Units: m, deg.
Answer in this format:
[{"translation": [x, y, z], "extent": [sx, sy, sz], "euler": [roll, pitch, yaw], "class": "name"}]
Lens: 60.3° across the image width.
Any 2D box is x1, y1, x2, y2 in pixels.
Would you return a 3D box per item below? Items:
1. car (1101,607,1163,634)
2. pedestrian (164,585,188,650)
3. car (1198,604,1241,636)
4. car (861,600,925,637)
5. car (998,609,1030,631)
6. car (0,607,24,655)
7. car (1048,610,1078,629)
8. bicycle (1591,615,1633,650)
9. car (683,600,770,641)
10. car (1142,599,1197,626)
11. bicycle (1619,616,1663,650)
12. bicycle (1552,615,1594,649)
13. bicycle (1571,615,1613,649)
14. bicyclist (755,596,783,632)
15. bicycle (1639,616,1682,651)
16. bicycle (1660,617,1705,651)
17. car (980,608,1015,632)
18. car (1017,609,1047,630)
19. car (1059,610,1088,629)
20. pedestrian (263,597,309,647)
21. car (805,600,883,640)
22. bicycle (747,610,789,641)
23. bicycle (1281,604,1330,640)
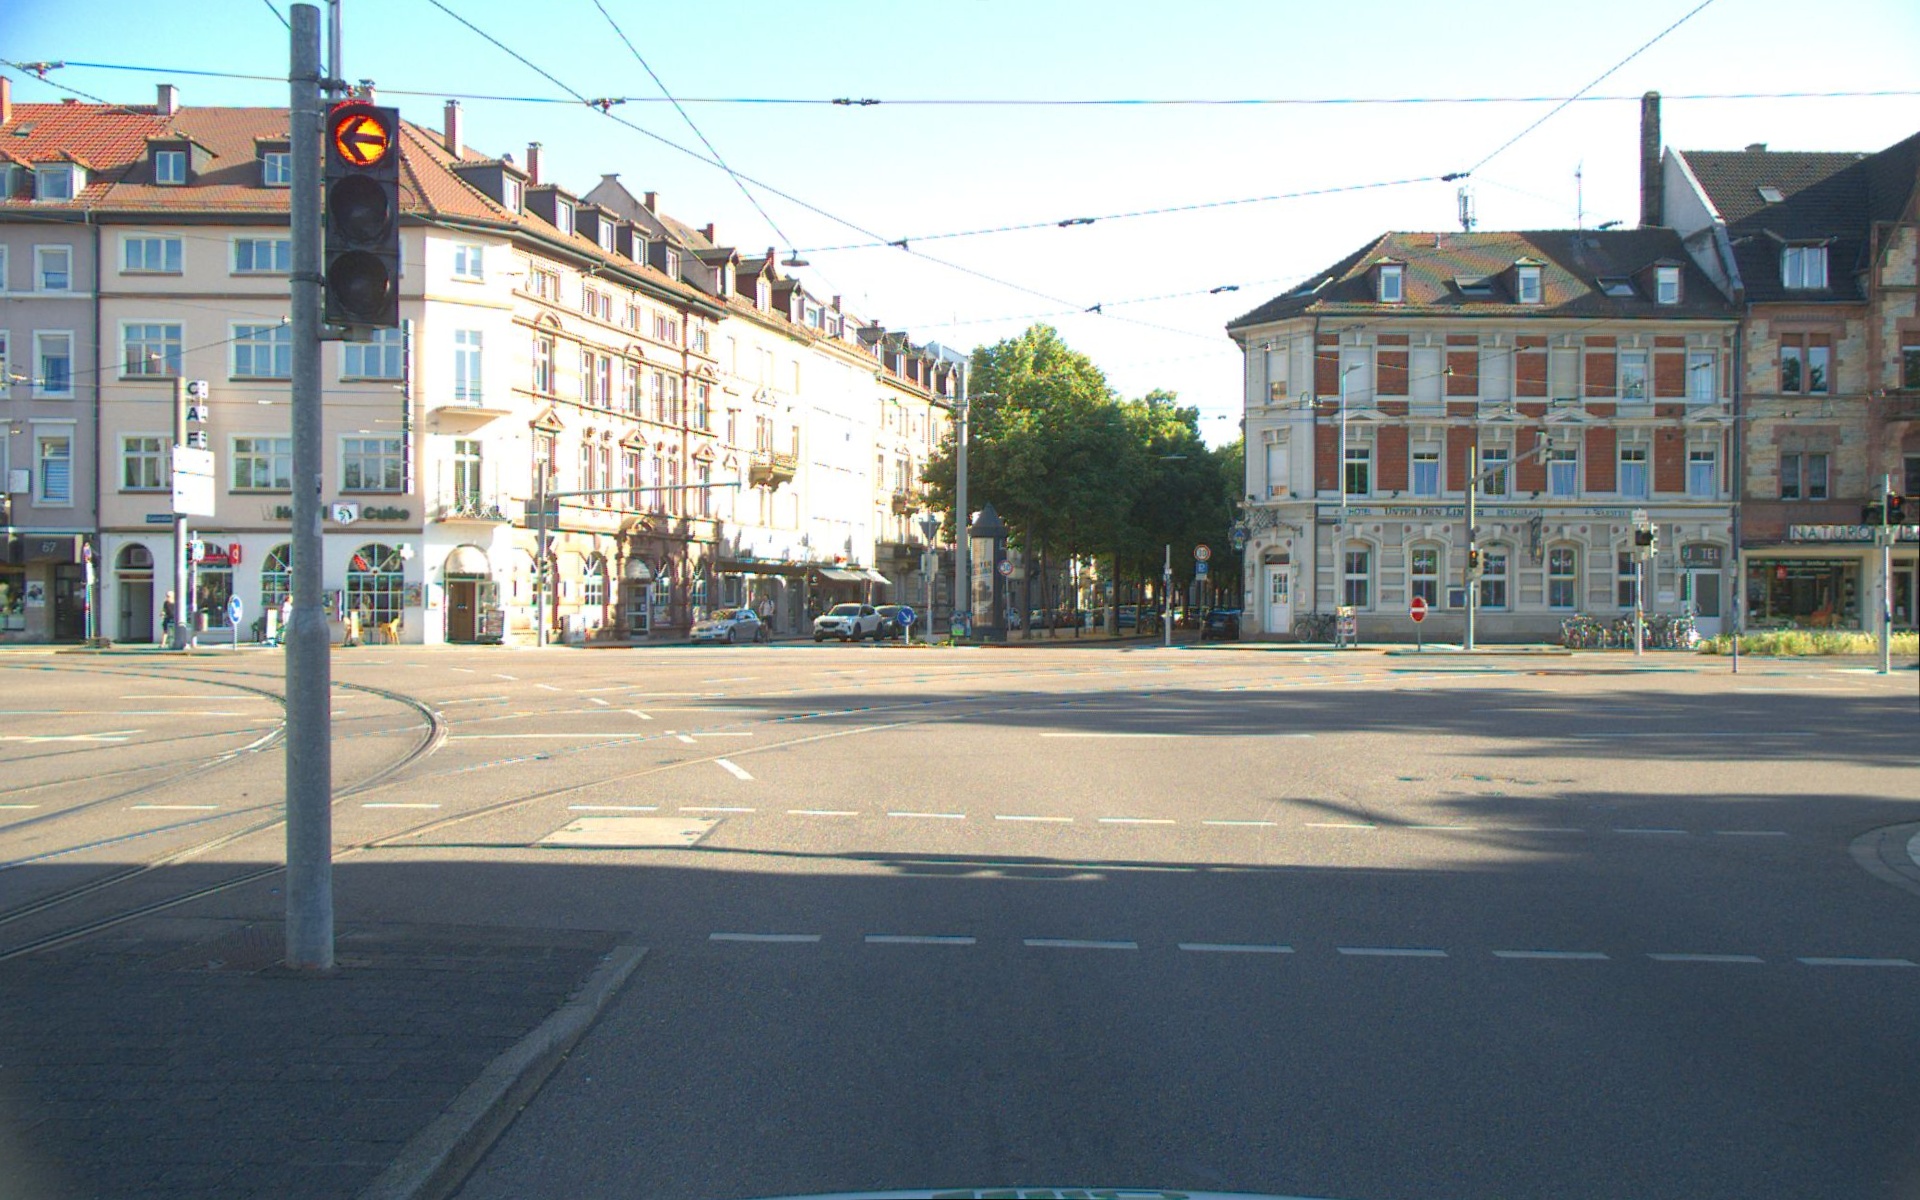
[{"translation": [12.004, 1.404, 115.383], "extent": [4.023, 1.675, 1.748], "euler": [3, 0, 15], "class": "car"}, {"translation": [-24.666, 0.540, 52.033], "extent": [0.498, 2.049, 0.505], "euler": [0, 0, 2], "class": "pedestrian"}, {"translation": [12.974, 1.002, 82.465], "extent": [1.616, 1.551, 3.755], "euler": [0, -1, 17], "class": "car"}, {"translation": [-2.959, 0.798, 73.471], "extent": [1.951, 1.540, 4.004], "euler": [0, 0, 11], "class": "car"}, {"translation": [3.803, 1.360, 115.839], "extent": [1.704, 1.422, 4.127], "euler": [3, 0, 9], "class": "car"}, {"translation": [-32.062, 1.001, 52.153], "extent": [3.910, 1.489, 1.998], "euler": [-1, 1, -6], "class": "car"}, {"translation": [8.243, 1.541, 131.706], "extent": [1.704, 1.422, 4.127], "euler": [3, 0, 13], "class": "car"}, {"translation": [21.118, 1.044, 53.593], "extent": [0.593, 1.069, 1.641], "euler": [0, 0, -6], "class": "bicycle"}, {"translation": [-9.450, 0.813, 67.219], "extent": [2.052, 1.572, 4.367], "euler": [0, 0, 13], "class": "car"}, {"translation": [16.956, 1.016, 133.664], "extent": [4.026, 1.952, 1.746], "euler": [3, 0, 21], "class": "car"}, {"translation": [21.944, 1.057, 53.325], "extent": [0.593, 1.069, 1.641], "euler": [0, 0, -6], "class": "bicycle"}, {"translation": [19.826, 1.022, 53.511], "extent": [0.593, 1.069, 1.641], "euler": [0, 0, -6], "class": "bicycle"}, {"translation": [20.466, 1.033, 53.567], "extent": [0.593, 1.069, 1.641], "euler": [0, 0, -6], "class": "bicycle"}, {"translation": [-7.559, 0.544, 65.463], "extent": [0.776, 1.399, 1.109], "euler": [0, 0, 14], "class": "bicyclist"}, {"translation": [22.604, 1.069, 53.401], "extent": [0.593, 1.069, 1.641], "euler": [0, 0, -6], "class": "bicycle"}, {"translation": [23.330, 1.081, 53.422], "extent": [0.593, 1.069, 1.641], "euler": [0, 0, -6], "class": "bicycle"}, {"translation": [2.525, 1.313, 110.015], "extent": [1.704, 1.422, 4.127], "euler": [3, 0, 9], "class": "car"}, {"translation": [5.333, 1.416, 122.839], "extent": [1.704, 1.422, 4.127], "euler": [3, 0, 9], "class": "car"}, {"translation": [9.420, 1.578, 136.502], "extent": [1.704, 1.422, 4.127], "euler": [3, 0, 13], "class": "car"}, {"translation": [-21.881, 0.716, 53.723], "extent": [1.043, 1.618, 1.042], "euler": [0, 0, 1], "class": "pedestrian"}, {"translation": [-4.651, 0.790, 67.078], "extent": [2.052, 1.525, 4.003], "euler": [0, 0, 13], "class": "car"}, {"translation": [-7.574, 0.995, 65.493], "extent": [0.734, 1.155, 2.812], "euler": [0, 0, 14], "class": "bicycle"}, {"translation": [11.976, 0.761, 57.301], "extent": [1.603, 1.243, 0.607], "euler": [0, 0, 16], "class": "bicycle"}]
